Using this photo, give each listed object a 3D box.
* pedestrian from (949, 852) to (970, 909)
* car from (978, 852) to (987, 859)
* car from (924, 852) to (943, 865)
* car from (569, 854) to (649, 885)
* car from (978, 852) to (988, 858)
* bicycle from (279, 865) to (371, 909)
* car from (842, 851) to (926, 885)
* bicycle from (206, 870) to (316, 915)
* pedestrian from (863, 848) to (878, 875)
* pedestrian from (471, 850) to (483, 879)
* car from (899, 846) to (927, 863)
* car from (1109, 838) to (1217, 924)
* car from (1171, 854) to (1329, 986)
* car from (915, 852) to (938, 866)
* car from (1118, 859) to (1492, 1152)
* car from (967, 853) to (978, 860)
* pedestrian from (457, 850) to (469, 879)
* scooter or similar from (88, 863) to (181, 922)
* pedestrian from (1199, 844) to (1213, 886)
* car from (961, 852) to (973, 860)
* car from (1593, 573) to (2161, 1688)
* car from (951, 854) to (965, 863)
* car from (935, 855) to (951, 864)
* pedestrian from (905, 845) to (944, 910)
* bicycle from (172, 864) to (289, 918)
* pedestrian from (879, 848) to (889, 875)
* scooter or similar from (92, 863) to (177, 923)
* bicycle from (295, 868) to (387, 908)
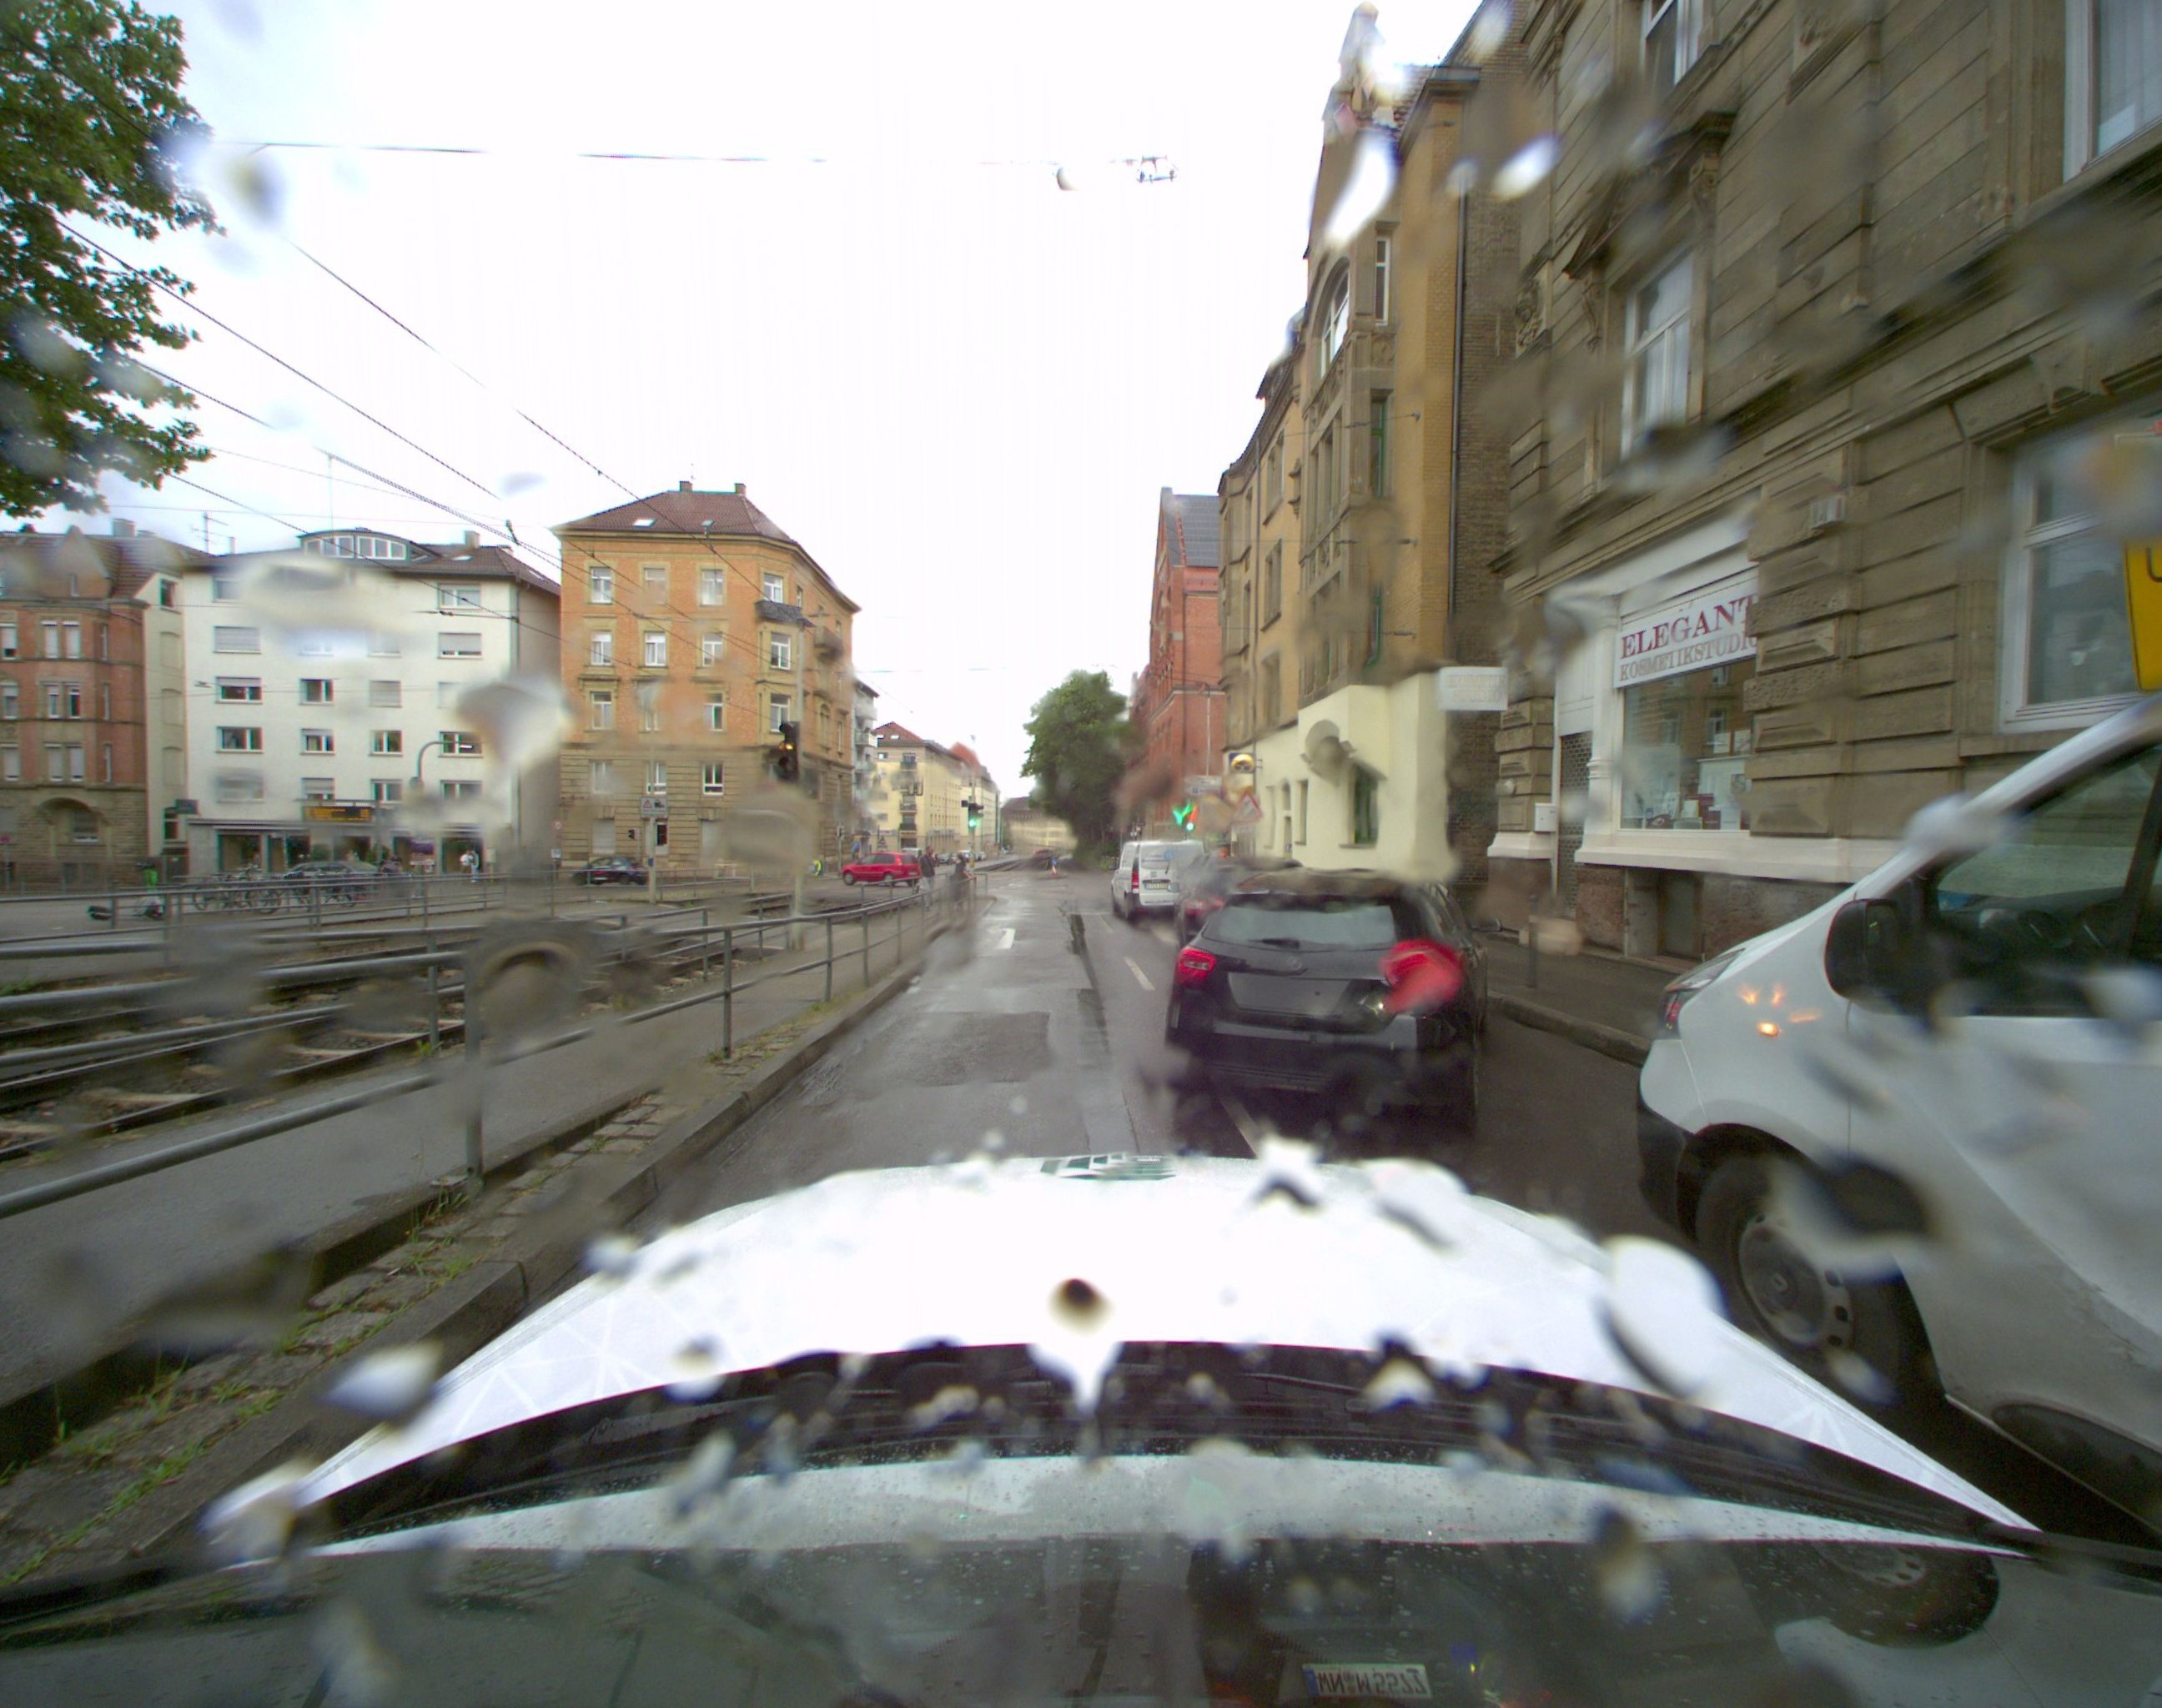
[{"bbox_3d":[-3.279,0.715,22.011,0.531,1.530,0.435,0,0,-9],"label":"pedestrian"},{"bbox_3d":[-17.461,0.222,144.396,1.391,1.171,3.160,0,0,-1],"label":"car"},{"bbox_3d":[-15.898,0.500,87.737,1.495,1.356,3.160,0,0,-1],"label":"car"},{"bbox_3d":[-23.600,0.759,40.757,3.143,1.489,1.424,1,0,-2],"label":"car"},{"bbox_3d":[-17.869,0.166,148.873,1.391,1.171,3.160,0,0,-1],"label":"car"},{"bbox_3d":[-20.206,0.874,21.804,1.768,1.142,0.515,0,0,-13],"label":"bicycle"},{"bbox_3d":[-9.039,0.618,37.333,3.566,1.489,1.696,0,0,30],"label":"car"},{"bbox_3d":[-19.901,0.924,19.794,1.872,1.061,0.515,0,0,-13],"label":"bicycle"},{"bbox_3d":[-12.972,0.479,50.100,0.675,1.661,0.677,-1,0,5],"label":"pedestrian"},{"bbox_3d":[-34.141,0.592,46.041,0.520,1.622,0.480,0,0,-41],"label":"pedestrian"},{"bbox_3d":[-15.916,0.026,77.256,1.781,1.530,4.460,0,0,-1],"label":"car"},{"bbox_3d":[1.846,0.574,19.674,1.929,1.831,4.275,0,0,-4],"label":"car"},{"bbox_3d":[2.145,0.743,11.369,1.705,1.469,4.287,0,0,5],"label":"car"},{"bbox_3d":[-15.908,0.526,83.781,1.675,1.356,3.701,0,0,-1],"label":"car"},{"bbox_3d":[1.996,0.744,6.153,1.877,1.390,4.024,0,0,28],"label":"car"},{"bbox_3d":[-16.923,0.360,126.993,1.391,1.171,3.160,0,0,-1],"label":"car"},{"bbox_3d":[-34.741,0.600,45.768,0.520,1.622,0.480,0,0,-41],"label":"pedestrian"},{"bbox_3d":[-20.000,0.795,17.227,0.295,1.195,1.259,0,0,38],"label":"scooter or similar"},{"bbox_3d":[3.846,0.335,25.009,0.411,1.271,0.292,0,0,4],"label":"pedestrian"},{"bbox_3d":[-16.933,0.275,120.649,1.391,1.171,3.160,0,0,-1],"label":"car"},{"bbox_3d":[2.834,0.479,0.658,1.915,1.936,4.684,0,0,0],"label":"car"},{"bbox_3d":[-16.552,0.578,109.520,1.391,1.171,3.160,0,0,-1],"label":"car"},{"bbox_3d":[-16.277,0.661,96.112,1.433,1.106,3.160,0,0,-1],"label":"car"},{"bbox_3d":[-4.243,0.617,22.087,0.745,1.724,0.732,1,0,-45],"label":"pedestrian"},{"bbox_3d":[-19.599,0.836,18.803,1.872,1.195,0.515,0,0,-13],"label":"bicycle"},{"bbox_3d":[-12.393,0.446,51.227,0.516,1.666,0.477,1,0,2],"label":"pedestrian"},{"bbox_3d":[-19.584,0.789,16.865,0.357,1.195,1.119,0,0,38],"label":"scooter or similar"},{"bbox_3d":[-20.452,0.937,22.533,1.872,1.065,0.515,0,0,-13],"label":"bicycle"}]
